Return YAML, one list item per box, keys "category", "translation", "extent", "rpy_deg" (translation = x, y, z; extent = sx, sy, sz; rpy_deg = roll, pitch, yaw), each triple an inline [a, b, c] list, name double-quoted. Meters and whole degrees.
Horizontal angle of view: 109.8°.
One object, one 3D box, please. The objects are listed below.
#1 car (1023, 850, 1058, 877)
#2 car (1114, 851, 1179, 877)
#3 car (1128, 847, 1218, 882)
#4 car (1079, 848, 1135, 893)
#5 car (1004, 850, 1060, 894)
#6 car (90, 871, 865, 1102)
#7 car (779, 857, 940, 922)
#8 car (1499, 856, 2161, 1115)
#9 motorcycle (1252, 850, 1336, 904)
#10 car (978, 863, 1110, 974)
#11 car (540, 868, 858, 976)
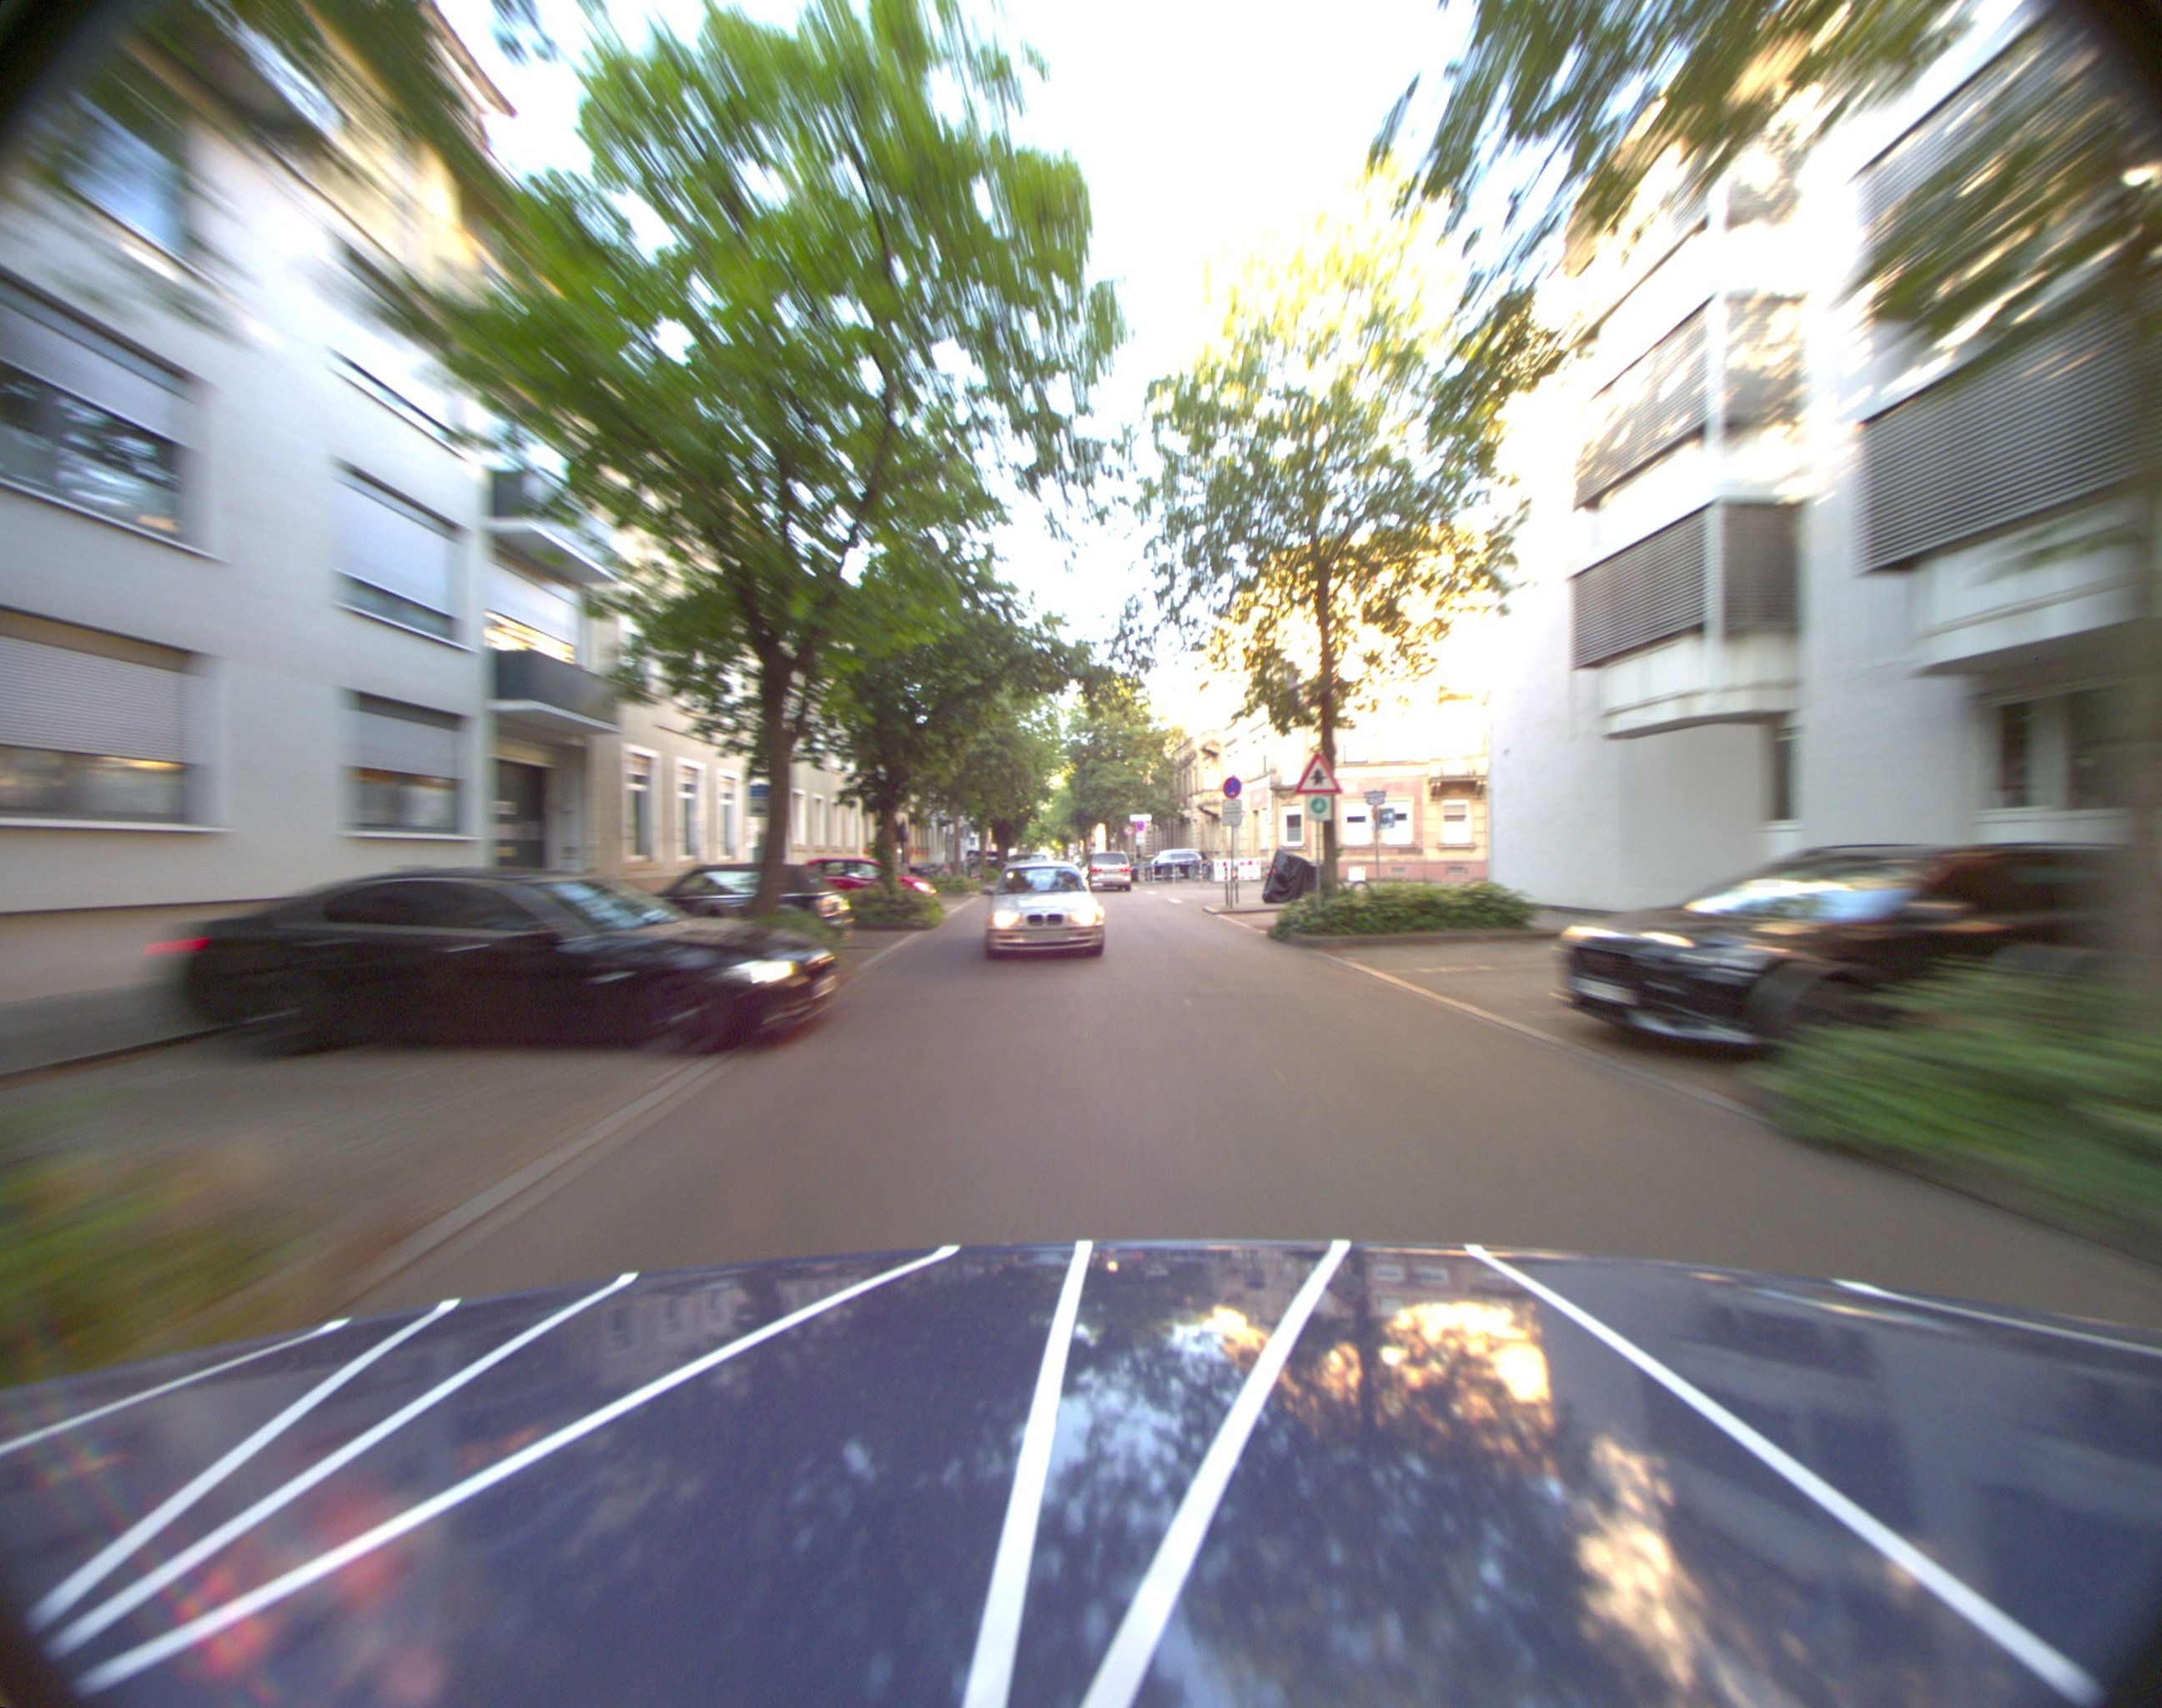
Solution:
- category: "car"
  translation: [-2.603, 0.601, 49.942]
  extent: [1.915, 1.679, 3.971]
  rpy_deg: [-1, 0, 3]
- category: "car"
  translation: [4.189, 0.630, 48.435]
  extent: [3.994, 1.576, 2.001]
  rpy_deg: [-1, 1, 8]
- category: "car"
  translation: [4.878, 0.541, 40.719]
  extent: [4.602, 1.725, 2.141]
  rpy_deg: [-1, 1, 2]
- category: "car"
  translation: [0.983, 0.603, 31.129]
  extent: [1.787, 1.679, 4.383]
  rpy_deg: [-1, 0, -5]
- category: "car"
  translation: [-1.962, 0.695, 31.341]
  extent: [1.893, 1.636, 4.000]
  rpy_deg: [-2, 0, 2]
- category: "car"
  translation: [-4.566, 0.963, 6.467]
  extent: [4.888, 1.488, 1.987]
  rpy_deg: [-1, 1, -3]
- category: "car"
  translation: [-5.708, 0.895, 19.959]
  extent: [3.732, 1.544, 1.754]
  rpy_deg: [-1, 1, -5]
- category: "car"
  translation: [5.935, 0.826, 5.781]
  extent: [4.521, 1.517, 1.871]
  rpy_deg: [-1, 1, -3]
- category: "motorcycle"
  translation: [6.042, 0.622, 21.538]
  extent: [2.234, 1.461, 0.900]
  rpy_deg: [-1, 1, -25]
- category: "car"
  translation: [-0.578, 0.880, 12.274]
  extent: [1.737, 1.363, 4.331]
  rpy_deg: [-1, 0, -2]
- category: "car"
  translation: [-5.436, 0.938, 11.278]
  extent: [3.847, 1.403, 1.712]
  rpy_deg: [0, 0, -7]
